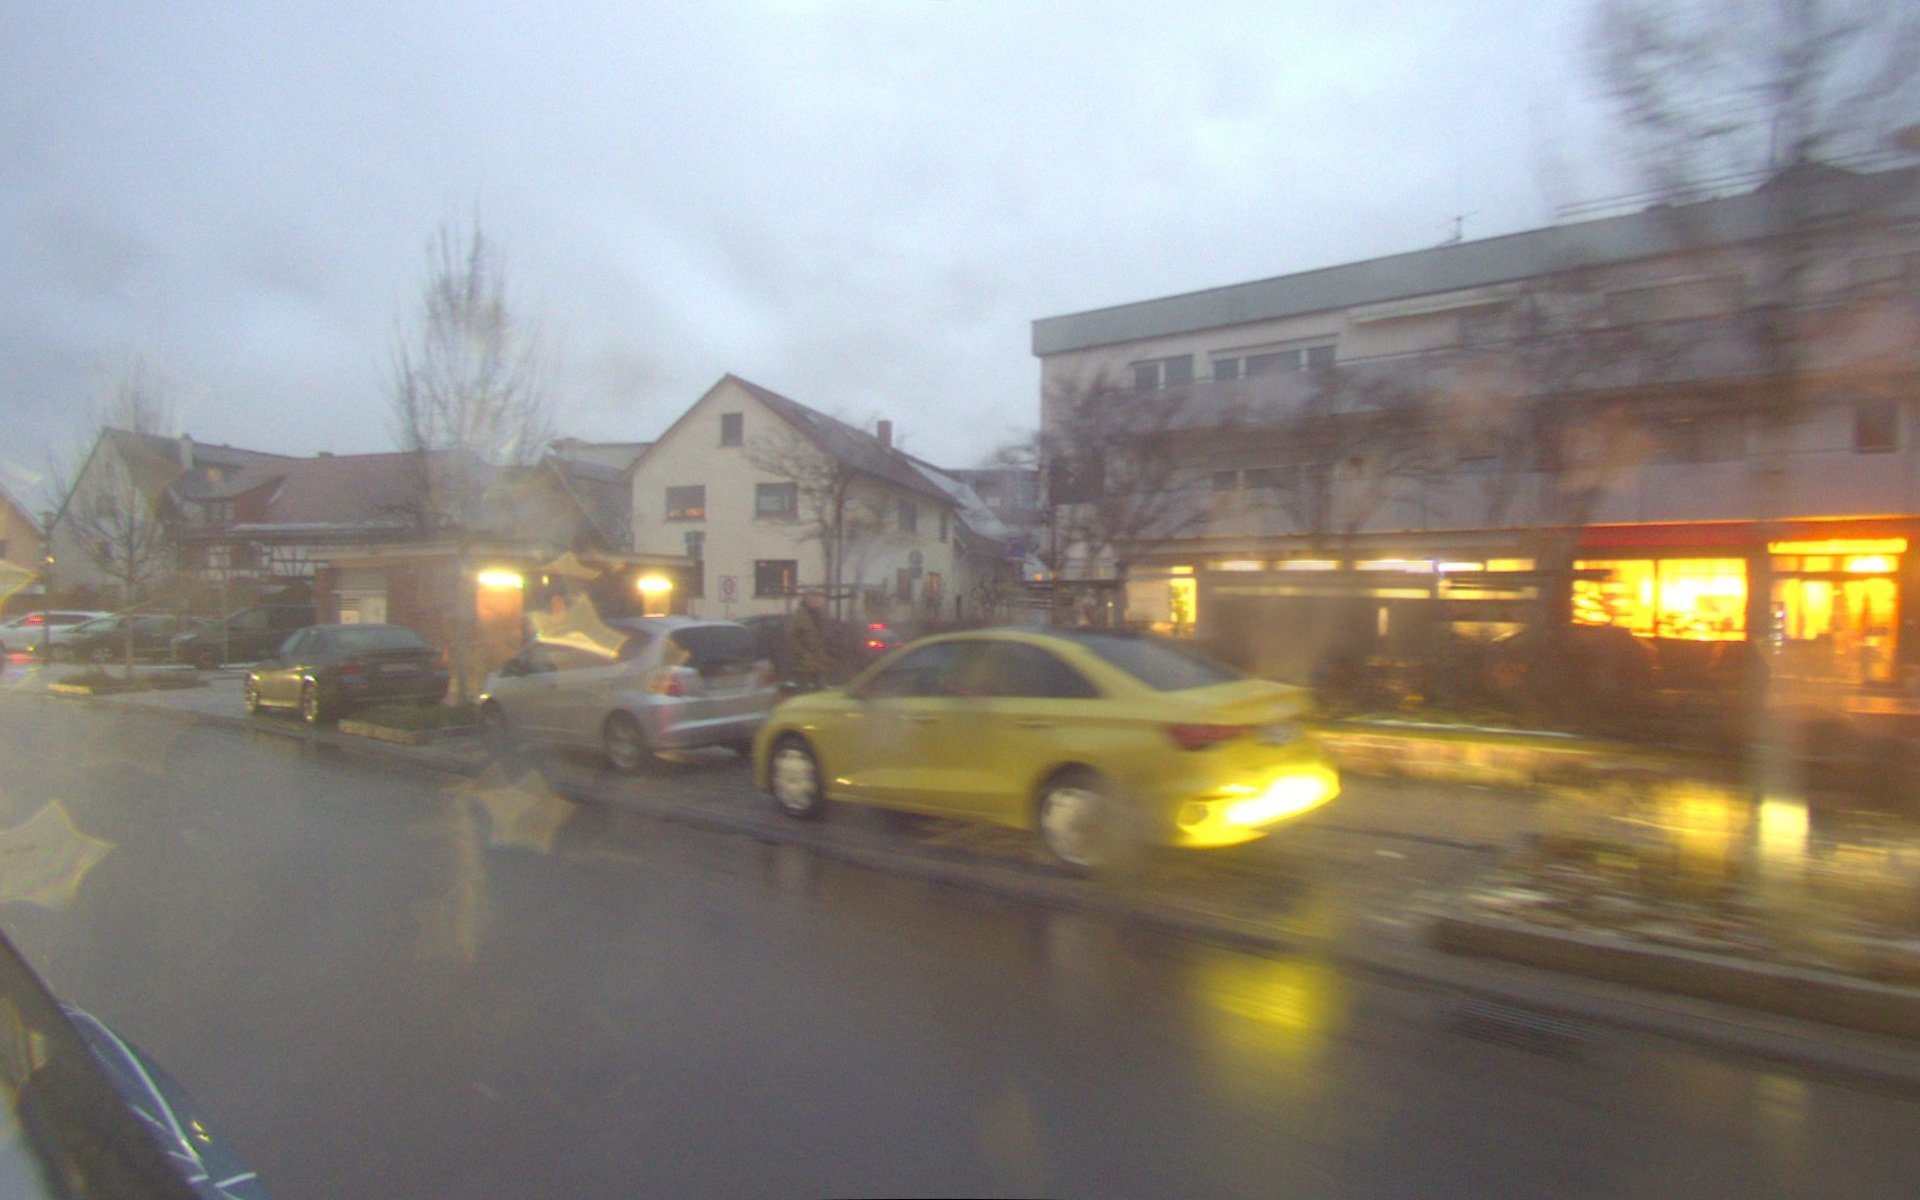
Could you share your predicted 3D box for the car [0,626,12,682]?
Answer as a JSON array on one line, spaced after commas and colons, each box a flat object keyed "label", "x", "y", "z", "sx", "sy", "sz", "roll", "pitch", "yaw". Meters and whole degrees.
[{"label": "car", "x": -27.350, "y": 1.468, "z": 26.910, "sx": 3.894, "sy": 1.457, "sz": 1.965, "roll": -1, "pitch": -1, "yaw": 27}]

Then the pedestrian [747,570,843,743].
[{"label": "pedestrian", "x": -2.028, "y": 0.674, "z": 12.442, "sx": 0.889, "sy": 2.029, "sz": 0.792, "roll": 1, "pitch": -2, "yaw": -40}]

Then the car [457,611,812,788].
[{"label": "car", "x": -3.547, "y": 0.915, "z": 10.843, "sx": 3.665, "sy": 1.546, "sz": 1.857, "roll": -1, "pitch": 0, "yaw": 37}]

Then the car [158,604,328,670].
[{"label": "car", "x": -20.608, "y": 1.022, "z": 29.265, "sx": 3.932, "sy": 1.776, "sz": 1.437, "roll": 0, "pitch": -1, "yaw": -33}]

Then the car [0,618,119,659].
[{"label": "car", "x": -32.354, "y": 1.333, "z": 35.750, "sx": 3.940, "sy": 1.309, "sz": 2.002, "roll": 0, "pitch": -1, "yaw": -44}]

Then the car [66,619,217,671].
[{"label": "car", "x": -26.962, "y": 1.433, "z": 33.380, "sx": 3.785, "sy": 1.557, "sz": 2.003, "roll": 0, "pitch": -1, "yaw": -42}]

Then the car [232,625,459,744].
[{"label": "car", "x": -9.501, "y": 1.173, "z": 15.511, "sx": 4.137, "sy": 1.546, "sz": 1.816, "roll": -1, "pitch": -1, "yaw": 41}]

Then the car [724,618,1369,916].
[{"label": "car", "x": 0.344, "y": 0.887, "z": 7.107, "sx": 4.375, "sy": 1.442, "sz": 1.676, "roll": -2, "pitch": -1, "yaw": 42}]

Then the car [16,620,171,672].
[{"label": "car", "x": -29.456, "y": 1.521, "z": 34.576, "sx": 3.936, "sy": 1.559, "sz": 2.004, "roll": -1, "pitch": -1, "yaw": -39}]
